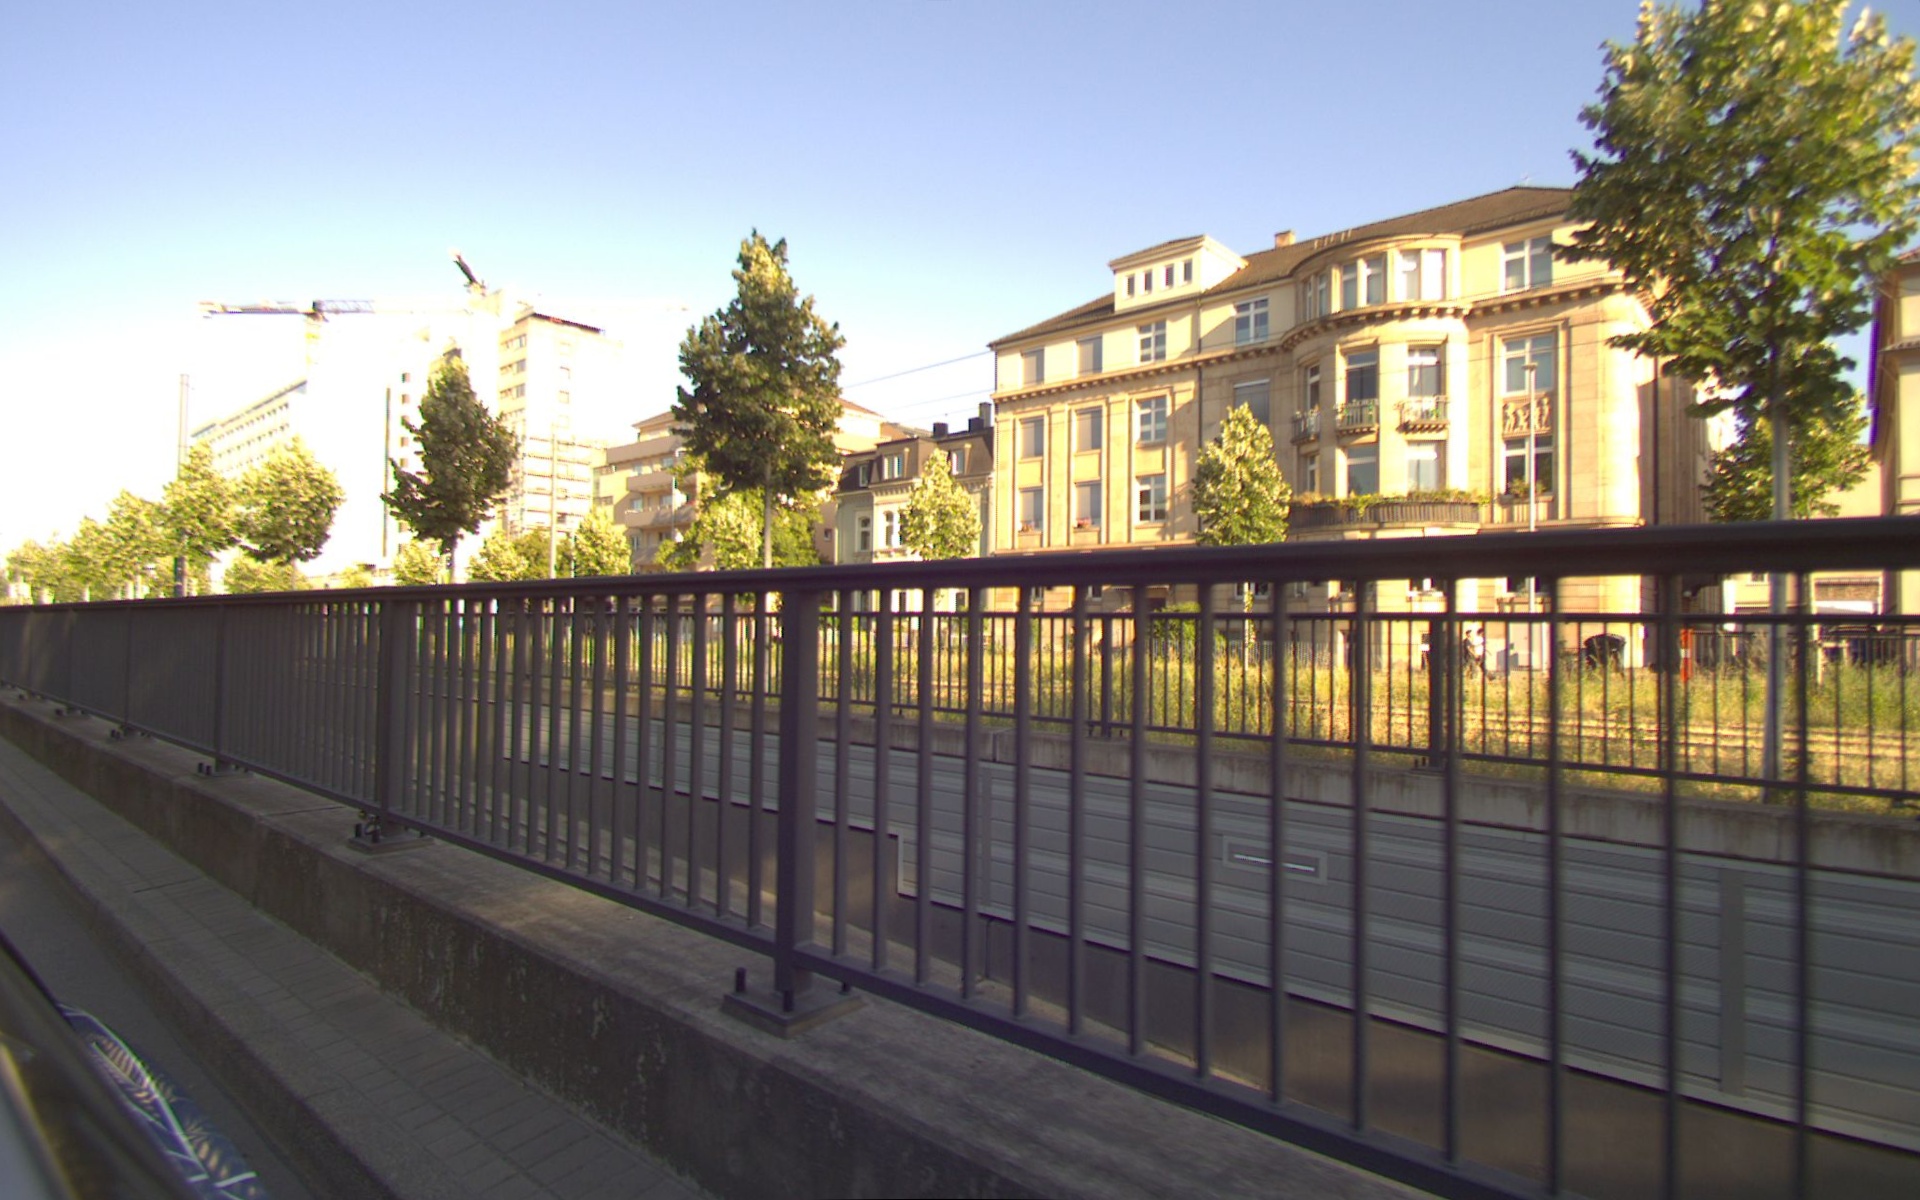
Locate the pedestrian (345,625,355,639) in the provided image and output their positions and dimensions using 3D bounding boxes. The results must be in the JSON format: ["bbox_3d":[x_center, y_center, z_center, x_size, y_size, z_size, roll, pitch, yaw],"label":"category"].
[{"bbox_3d":[-71.490,3.750,118.612,0.882,1.652,0.766,-1,-2,41],"label":"pedestrian"}]

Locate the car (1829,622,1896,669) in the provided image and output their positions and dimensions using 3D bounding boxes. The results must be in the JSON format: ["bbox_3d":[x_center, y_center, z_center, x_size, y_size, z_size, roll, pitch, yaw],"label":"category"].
[{"bbox_3d":[31.377,1.531,35.177,1.682,1.480,3.944,0,0,42],"label":"car"}]

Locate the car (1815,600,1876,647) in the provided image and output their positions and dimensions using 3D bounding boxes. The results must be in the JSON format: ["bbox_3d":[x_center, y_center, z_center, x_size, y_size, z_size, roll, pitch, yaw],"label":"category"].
[{"bbox_3d":[45.390,1.134,51.855,2.248,2.286,4.515,0,0,43],"label":"car"}]

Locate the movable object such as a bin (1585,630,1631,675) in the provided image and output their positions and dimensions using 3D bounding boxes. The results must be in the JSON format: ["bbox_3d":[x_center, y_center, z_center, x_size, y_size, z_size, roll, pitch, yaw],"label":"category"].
[{"bbox_3d":[21.121,1.696,32.994,1.079,1.440,1.192,-2,-3,41],"label":"movable object such as a bin"}]

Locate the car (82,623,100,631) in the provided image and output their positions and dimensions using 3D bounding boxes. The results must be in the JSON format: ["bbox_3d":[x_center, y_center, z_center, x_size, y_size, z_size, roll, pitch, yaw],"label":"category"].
[{"bbox_3d":[-154.404,4.769,179.718,4.660,1.474,1.757,-1,-2,41],"label":"car"}]

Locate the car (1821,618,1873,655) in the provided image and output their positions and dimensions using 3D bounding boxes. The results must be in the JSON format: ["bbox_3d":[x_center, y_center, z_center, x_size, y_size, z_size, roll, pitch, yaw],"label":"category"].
[{"bbox_3d":[39.466,1.578,44.993,1.682,1.480,3.944,0,0,42],"label":"car"}]

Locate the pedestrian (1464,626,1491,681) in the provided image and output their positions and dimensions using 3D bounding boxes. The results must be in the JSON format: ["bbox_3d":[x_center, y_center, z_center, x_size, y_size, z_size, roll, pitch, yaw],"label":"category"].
[{"bbox_3d":[16.594,1.701,32.475,0.652,1.733,0.549,-1,-3,41],"label":"pedestrian"}]
